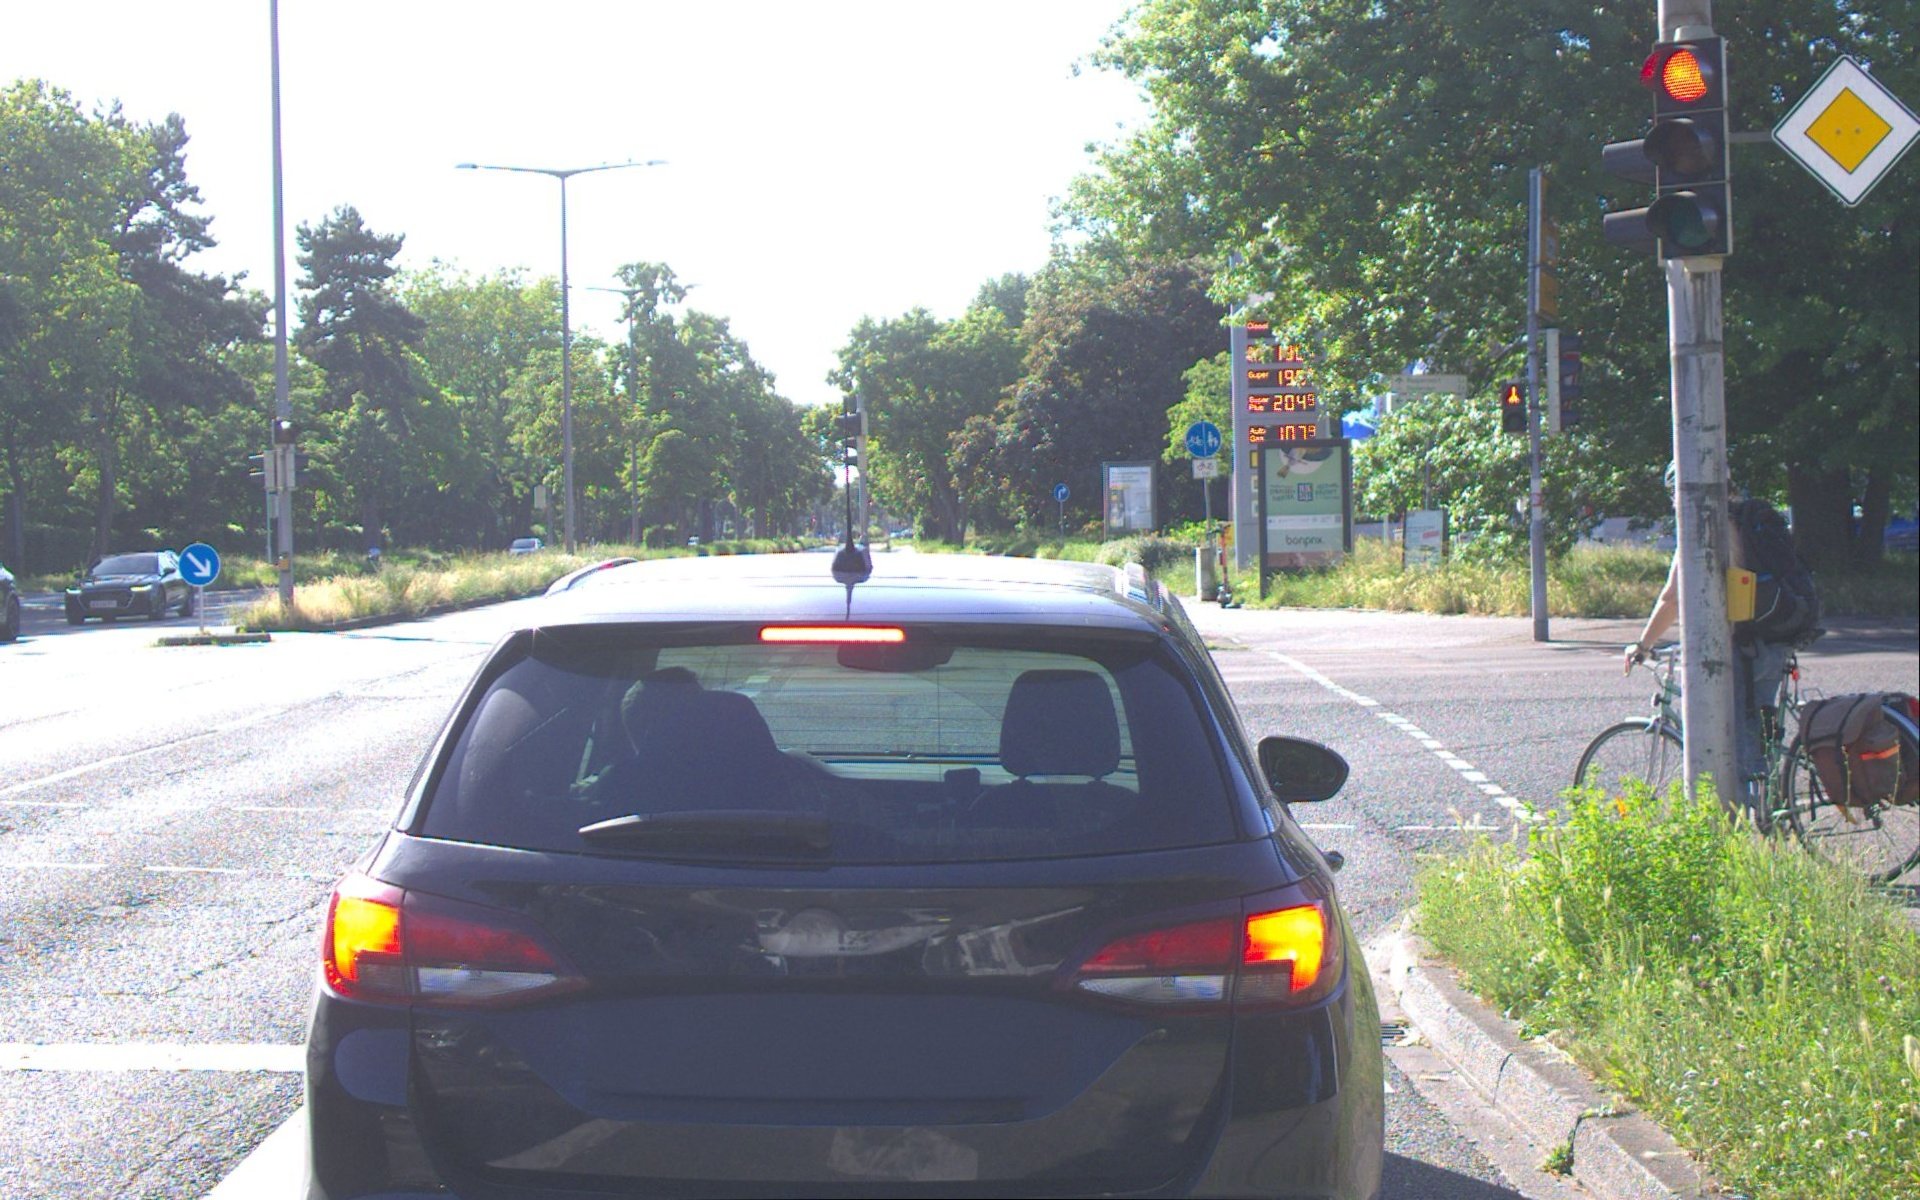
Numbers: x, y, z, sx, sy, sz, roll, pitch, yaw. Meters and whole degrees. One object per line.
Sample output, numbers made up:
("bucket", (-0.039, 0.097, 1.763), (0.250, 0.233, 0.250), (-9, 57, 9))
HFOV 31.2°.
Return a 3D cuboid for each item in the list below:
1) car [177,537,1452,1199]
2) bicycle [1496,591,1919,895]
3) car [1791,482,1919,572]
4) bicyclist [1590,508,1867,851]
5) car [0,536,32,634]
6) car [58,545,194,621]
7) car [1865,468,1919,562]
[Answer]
("car", (-0.225, 0.635, 6.850), (1.756, 1.490, 4.207), (0, 1, -1))
("bicycle", (2.985, 0.549, 13.337), (0.536, 1.094, 1.775), (-3, 0, -44))
("car", (16.617, -1.295, 59.807), (3.887, 1.512, 1.746), (-2, 1, -23))
("bicyclist", (2.977, 0.308, 13.335), (0.536, 1.272, 0.829), (-3, 0, -44))
("car", (-16.726, -0.204, 55.939), (1.993, 1.596, 4.616), (-1, 1, -1))
("car", (-17.085, -0.374, 70.599), (1.776, 1.458, 4.165), (-1, 1, -1))
("car", (17.093, -1.436, 56.722), (3.887, 1.512, 1.746), (-2, 1, -23))
